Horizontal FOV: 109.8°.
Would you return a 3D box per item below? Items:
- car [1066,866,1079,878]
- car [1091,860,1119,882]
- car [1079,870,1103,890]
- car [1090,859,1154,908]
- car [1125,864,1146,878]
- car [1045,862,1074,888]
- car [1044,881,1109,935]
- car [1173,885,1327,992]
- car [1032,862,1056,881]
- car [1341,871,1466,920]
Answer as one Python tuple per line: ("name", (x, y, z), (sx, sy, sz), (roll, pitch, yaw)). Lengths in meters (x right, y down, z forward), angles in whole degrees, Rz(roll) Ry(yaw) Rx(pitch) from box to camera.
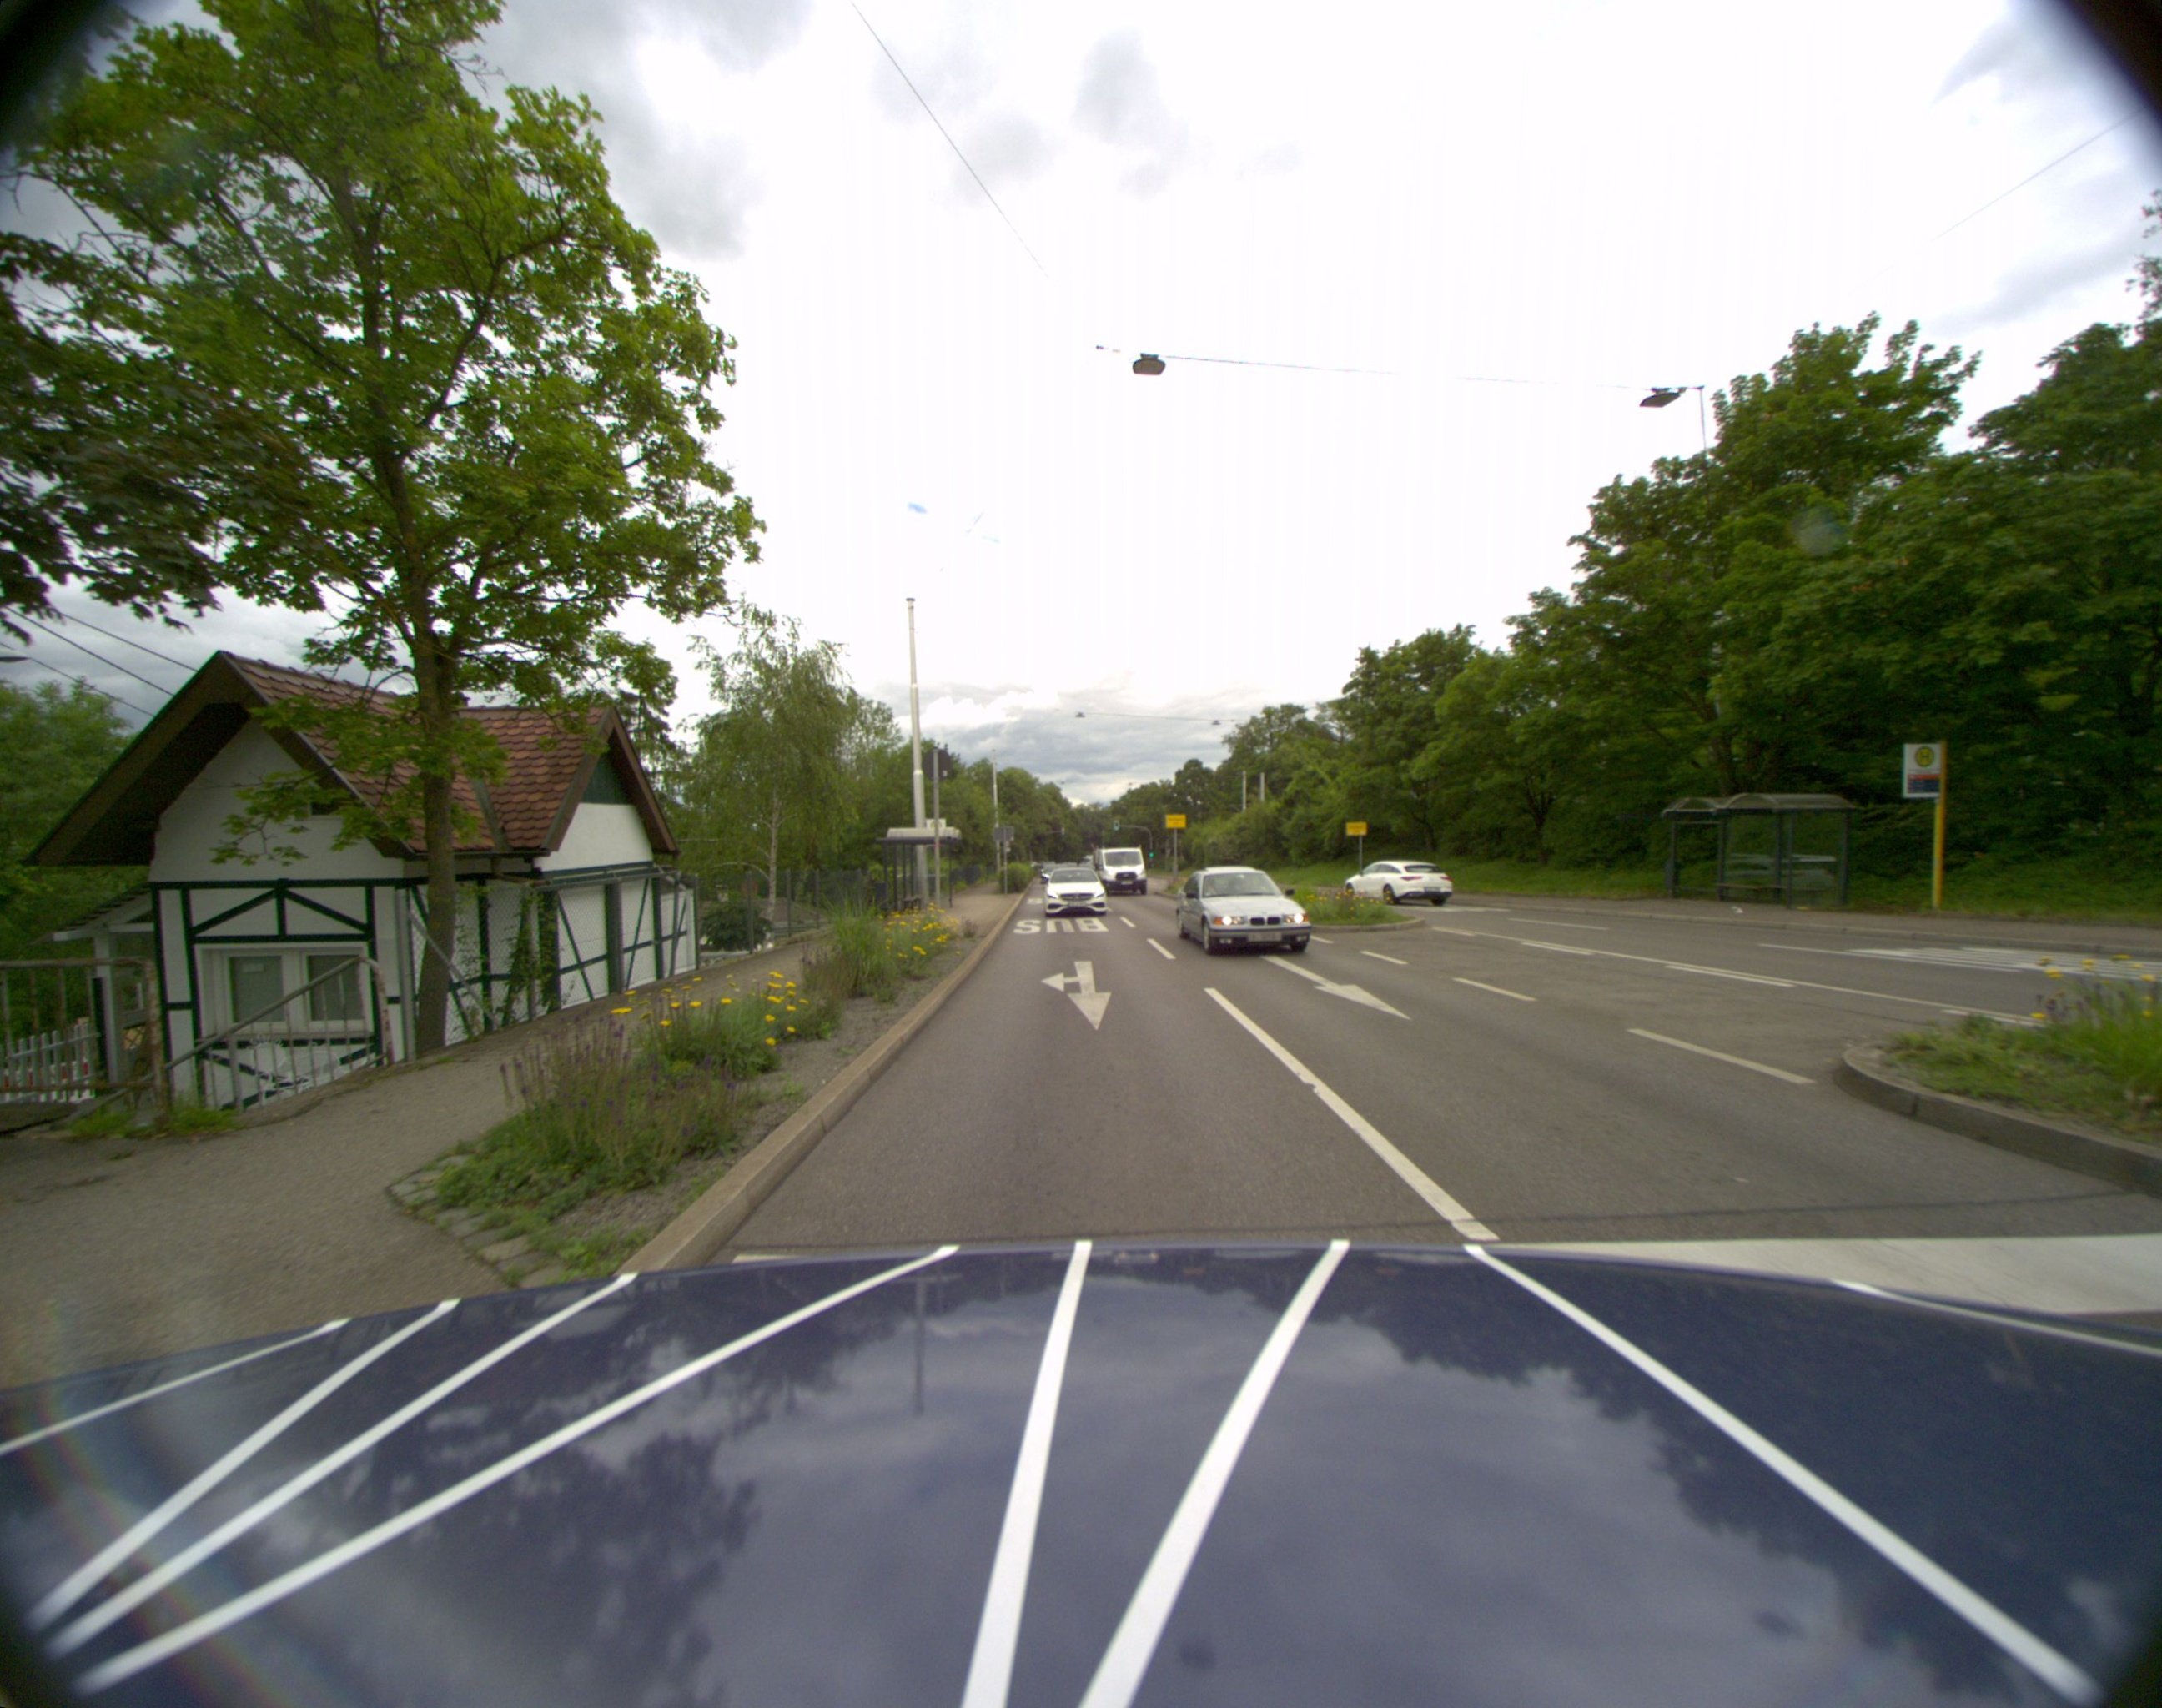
("car", (-1.136, 2.396, 101.383), (1.678, 1.531, 4.614), (0, -1, -2))
("car", (1.699, 1.200, 55.138), (1.678, 1.532, 4.553), (0, -1, -2))
("car", (0.820, 2.217, 65.839), (1.678, 1.532, 4.614), (-2, -1, -4))
("car", (1.869, 1.368, 37.304), (2.254, 2.113, 6.667), (-1, -1, -4))
("car", (6.267, 1.906, 87.667), (1.734, 1.532, 4.041), (-2, -1, -6))
("car", (-1.399, 1.280, 47.896), (1.678, 1.532, 4.614), (0, -1, -4))
("car", (-0.237, 1.585, 23.350), (1.808, 1.385, 4.283), (0, -1, -3))
("car", (2.786, 1.349, 13.579), (1.757, 1.385, 4.616), (-2, -1, 1))
("car", (-2.979, 1.371, 60.170), (1.808, 1.385, 4.283), (-1, -1, -4))
("car", (10.350, 1.276, 24.831), (1.723, 1.385, 4.607), (-1, -1, -6))
